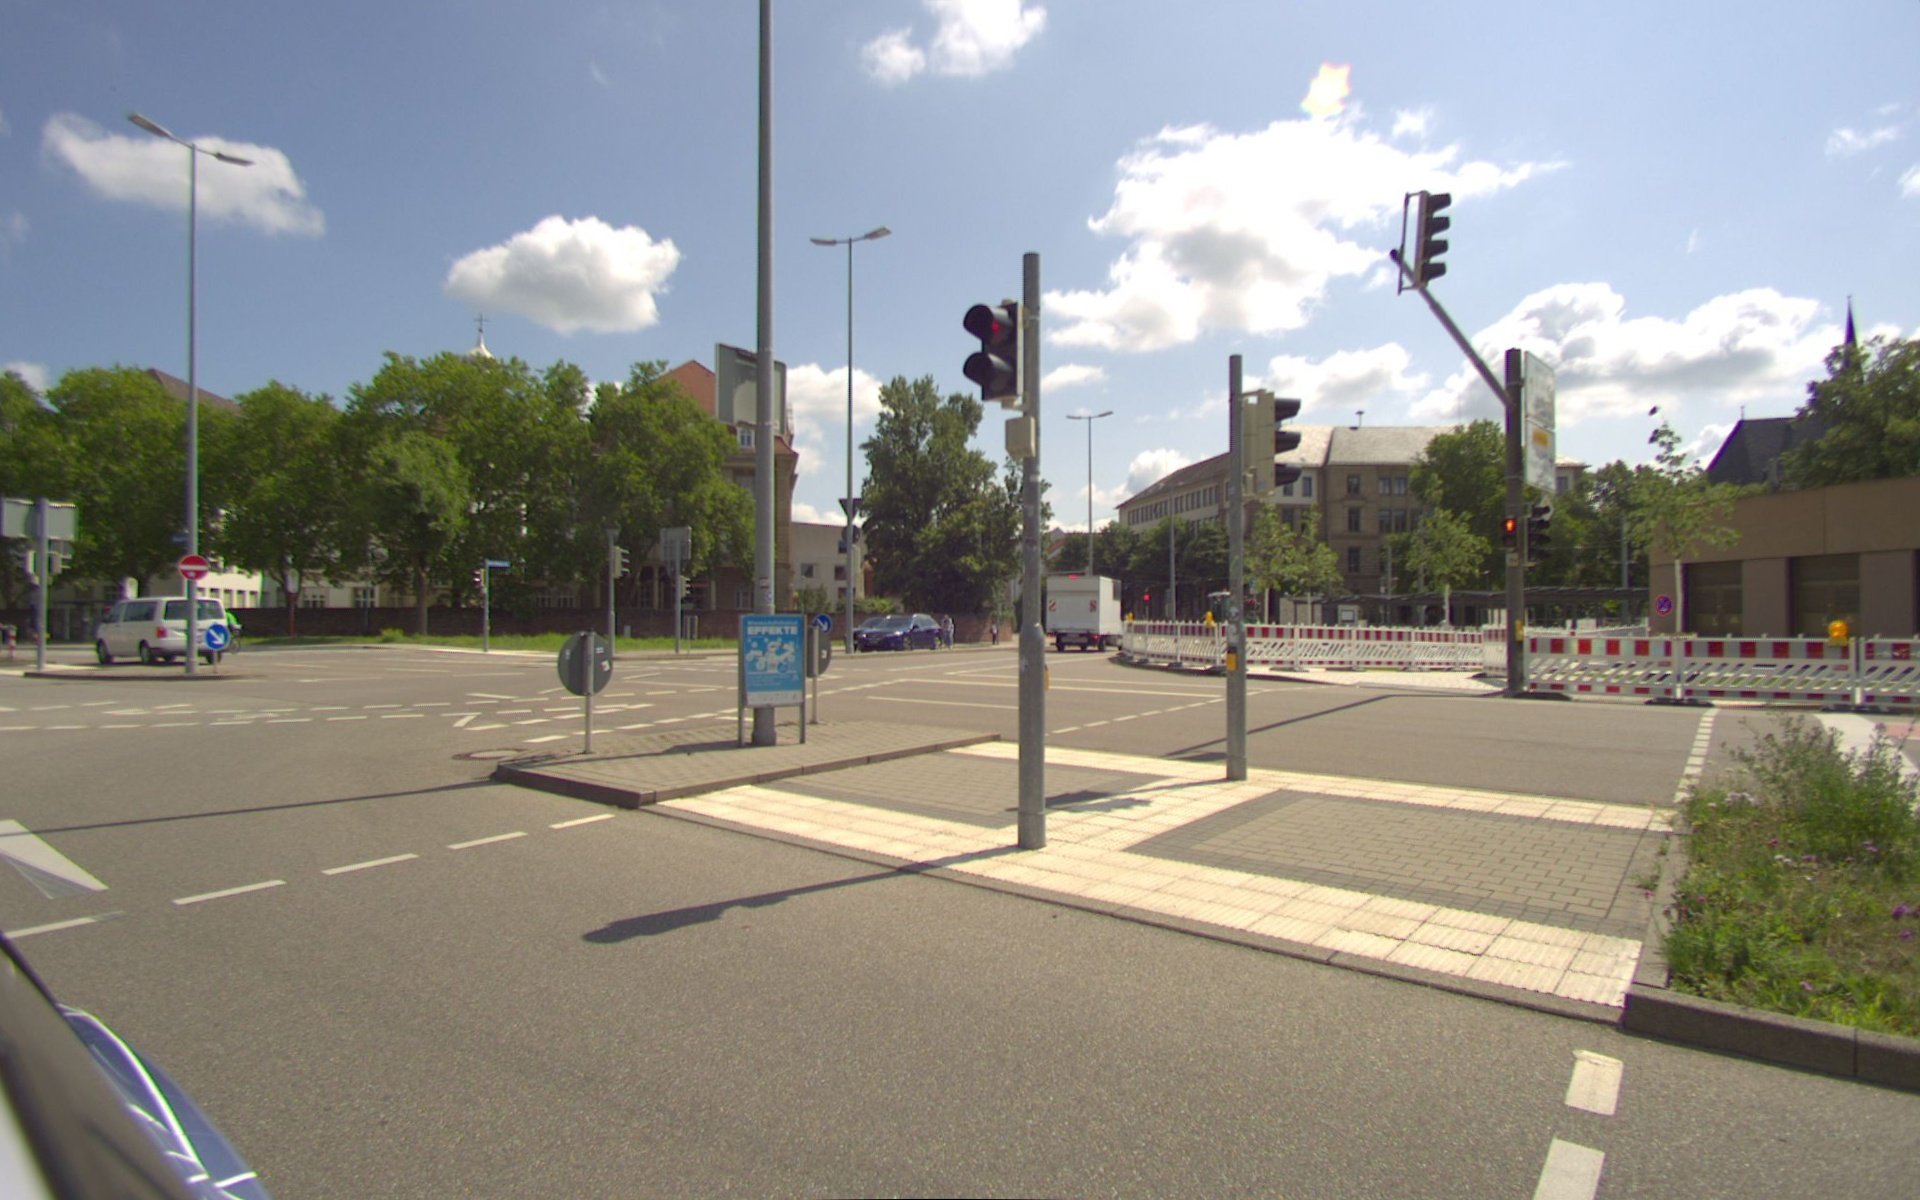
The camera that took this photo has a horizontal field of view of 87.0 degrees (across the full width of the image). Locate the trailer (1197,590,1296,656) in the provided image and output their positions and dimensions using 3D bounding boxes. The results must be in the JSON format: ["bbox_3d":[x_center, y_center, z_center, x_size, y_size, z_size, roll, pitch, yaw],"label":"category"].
[{"bbox_3d":[13.316,1.026,47.249,1.965,2.935,4.380,0,0,-28],"label":"trailer"}]

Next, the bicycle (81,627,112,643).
[{"bbox_3d":[-58.530,2.388,68.571,1.934,1.051,0.397,0,-1,7],"label":"bicycle"}]

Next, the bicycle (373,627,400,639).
[{"bbox_3d":[-38.189,2.193,67.373,1.522,0.795,0.398,0,-1,-1],"label":"bicycle"}]

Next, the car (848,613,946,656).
[{"bbox_3d":[-2.281,1.284,37.954,1.986,1.497,4.636,-1,-2,21],"label":"car"}]

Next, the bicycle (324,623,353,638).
[{"bbox_3d":[-41.359,2.034,67.359,1.663,1.038,0.398,0,-1,-1],"label":"bicycle"}]

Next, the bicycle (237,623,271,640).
[{"bbox_3d":[-47.137,2.113,67.528,2.011,1.146,0.398,0,-1,2],"label":"bicycle"}]

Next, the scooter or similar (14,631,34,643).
[{"bbox_3d":[-63.477,2.520,68.611,1.055,0.800,0.353,0,-1,1],"label":"scooter or similar"}]

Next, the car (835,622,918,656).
[{"bbox_3d":[-3.881,1.817,47.805,1.989,1.497,4.472,-1,-2,25],"label":"car"}]

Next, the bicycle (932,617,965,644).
[{"bbox_3d":[-0.525,1.425,47.726,0.664,1.155,2.049,0,0,28],"label":"bicycle"}]

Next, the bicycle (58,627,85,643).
[{"bbox_3d":[-60.398,2.385,68.805,1.620,1.051,0.397,0,-1,7],"label":"bicycle"}]

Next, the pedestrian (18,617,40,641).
[{"bbox_3d":[-62.174,1.941,67.605,0.769,1.623,0.723,0,-1,-3],"label":"pedestrian"}]

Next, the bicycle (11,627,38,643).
[{"bbox_3d":[-64.144,2.411,69.386,1.742,1.051,0.397,0,-1,11],"label":"bicycle"}]

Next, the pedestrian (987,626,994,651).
[{"bbox_3d":[2.331,2.927,77.285,0.433,1.834,0.568,0,0,8],"label":"pedestrian"}]

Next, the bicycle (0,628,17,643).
[{"bbox_3d":[-65.913,2.458,69.746,1.743,1.011,0.396,0,-1,12],"label":"bicycle"}]

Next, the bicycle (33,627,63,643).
[{"bbox_3d":[-62.242,2.392,69.045,1.936,1.051,0.397,0,-1,9],"label":"bicycle"}]

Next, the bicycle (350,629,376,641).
[{"bbox_3d":[-39.677,2.321,67.274,1.445,0.795,0.398,0,-1,-1],"label":"bicycle"}]

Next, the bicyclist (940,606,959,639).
[{"bbox_3d":[-0.503,1.045,47.760,0.664,1.545,0.641,0,0,28],"label":"bicyclist"}]

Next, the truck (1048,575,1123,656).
[{"bbox_3d":[5.397,0.580,42.674,1.983,3.090,7.290,0,0,16],"label":"truck"}]

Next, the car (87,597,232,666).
[{"bbox_3d":[-23.819,0.931,30.059,4.853,1.909,1.867,-1,-2,32],"label":"car"}]

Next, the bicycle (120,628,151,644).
[{"bbox_3d":[-55.472,2.428,68.085,1.934,1.051,0.397,0,-1,7],"label":"bicycle"}]
